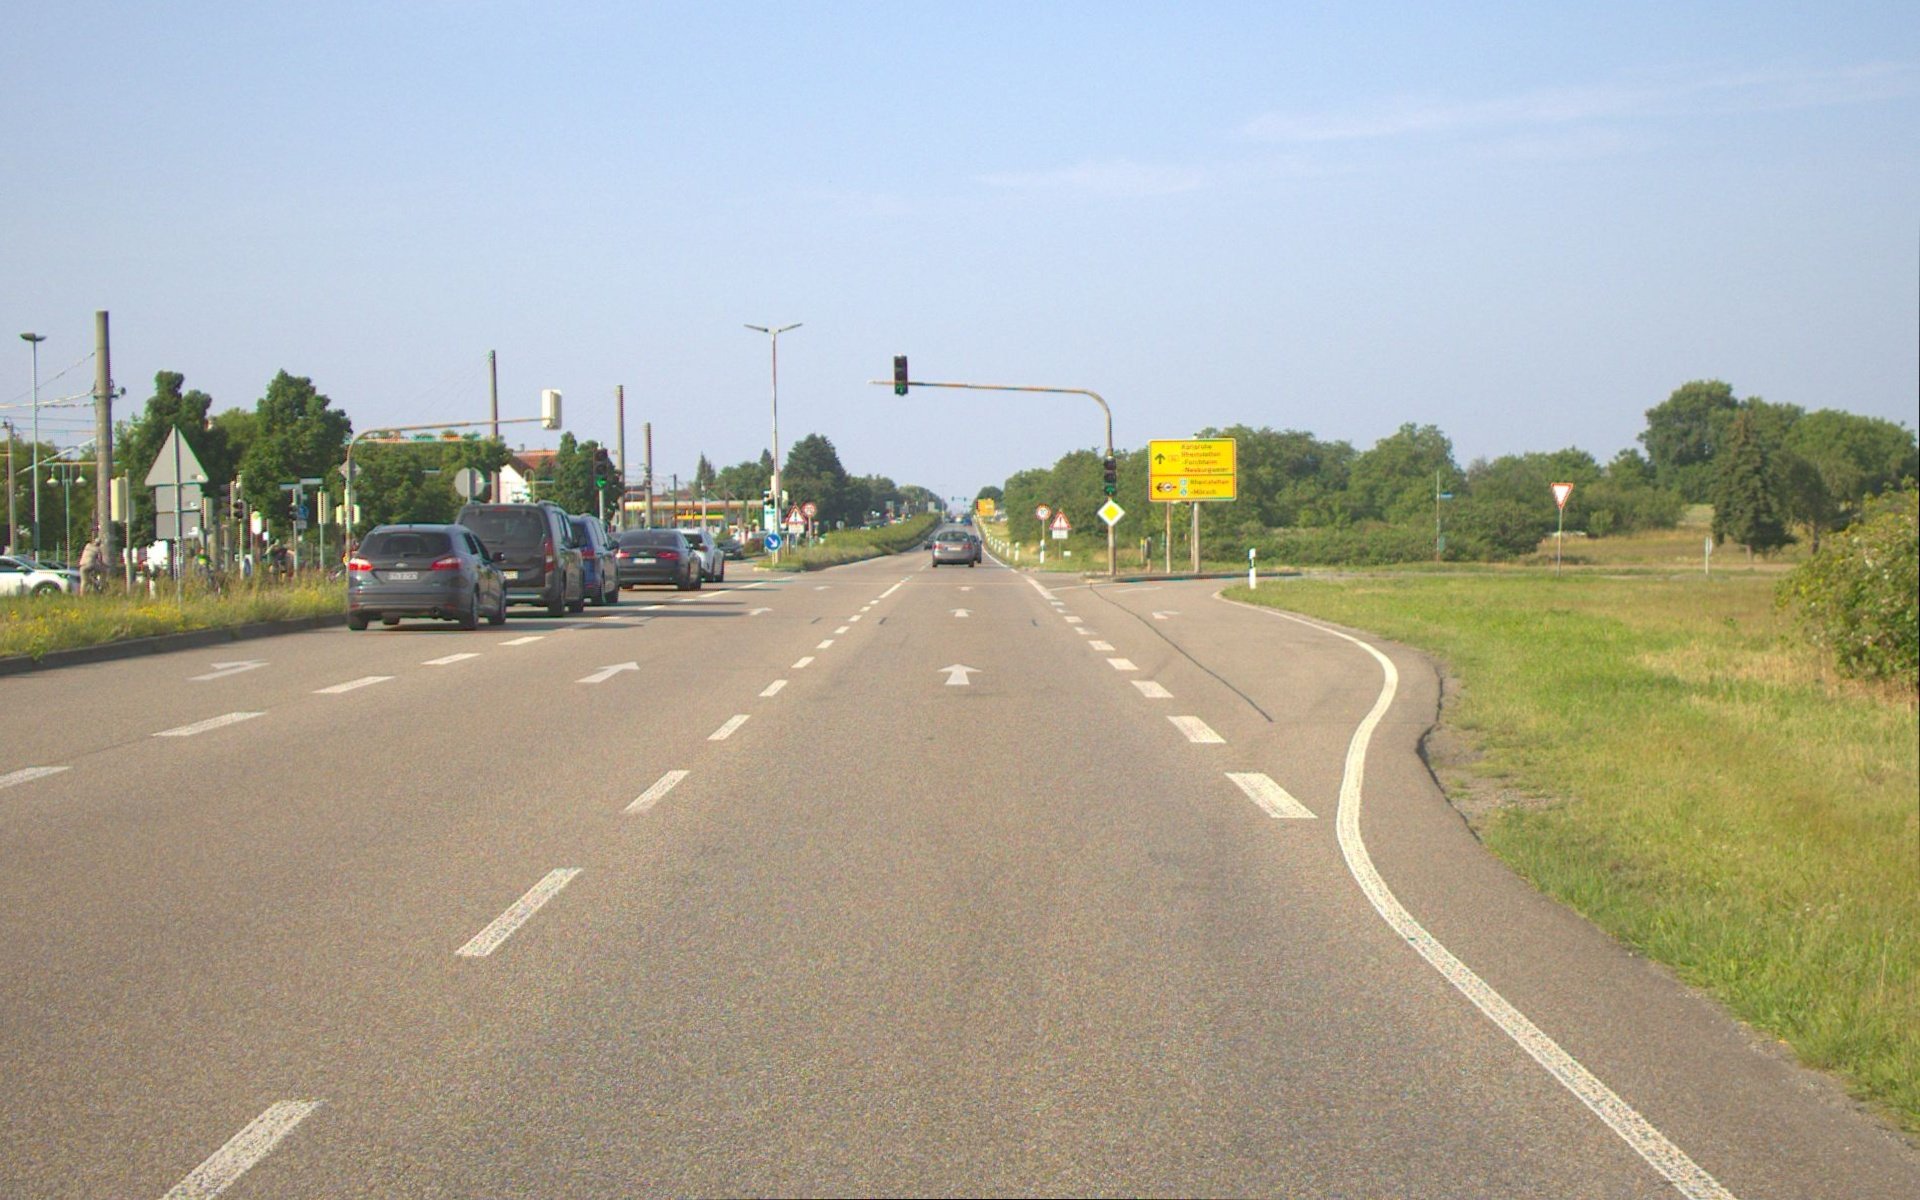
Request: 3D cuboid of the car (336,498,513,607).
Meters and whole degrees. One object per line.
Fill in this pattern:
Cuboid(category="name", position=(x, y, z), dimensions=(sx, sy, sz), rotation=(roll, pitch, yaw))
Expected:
Cuboid(category="car", position=(-7.523, -0.701, 48.647), dimensions=(1.732, 1.451, 4.520), rotation=(0, 2, 1))

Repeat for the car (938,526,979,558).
Cuboid(category="car", position=(-0.072, -2.923, 173.596), dimensions=(1.993, 1.546, 4.000), rotation=(0, 2, 1))

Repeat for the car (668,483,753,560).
Cuboid(category="car", position=(-6.670, -2.111, 92.215), dimensions=(1.829, 2.007, 4.000), rotation=(0, 1, 2))

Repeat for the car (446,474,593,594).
Cuboid(category="car", position=(-7.098, -1.089, 55.737), dimensions=(1.732, 1.849, 4.520), rotation=(0, 2, 1))

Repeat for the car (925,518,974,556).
Cuboid(category="car", position=(-0.445, -2.666, 145.408), dimensions=(1.993, 1.546, 4.000), rotation=(0, 2, 1))

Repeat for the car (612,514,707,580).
Cuboid(category="car", position=(-6.887, -1.234, 79.130), dimensions=(1.770, 1.466, 4.015), rotation=(0, 2, 1))

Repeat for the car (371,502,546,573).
Cuboid(category="car", position=(-14.754, -1.832, 101.317), dimensions=(4.820, 2.007, 2.000), rotation=(-1, -1, 1))

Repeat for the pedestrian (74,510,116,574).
Cuboid(category="pedestrian", position=(-23.325, -1.559, 92.711), dimensions=(0.915, 1.700, 1.067), rotation=(1, 0, -5))

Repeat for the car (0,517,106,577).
Cuboid(category="car", position=(-26.683, -1.525, 98.370), dimensions=(3.987, 1.656, 1.887), rotation=(1, 0, 1))

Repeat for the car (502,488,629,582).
Cuboid(category="car", position=(-7.292, -1.221, 63.945), dimensions=(1.770, 1.673, 4.520), rotation=(0, 2, 1))
